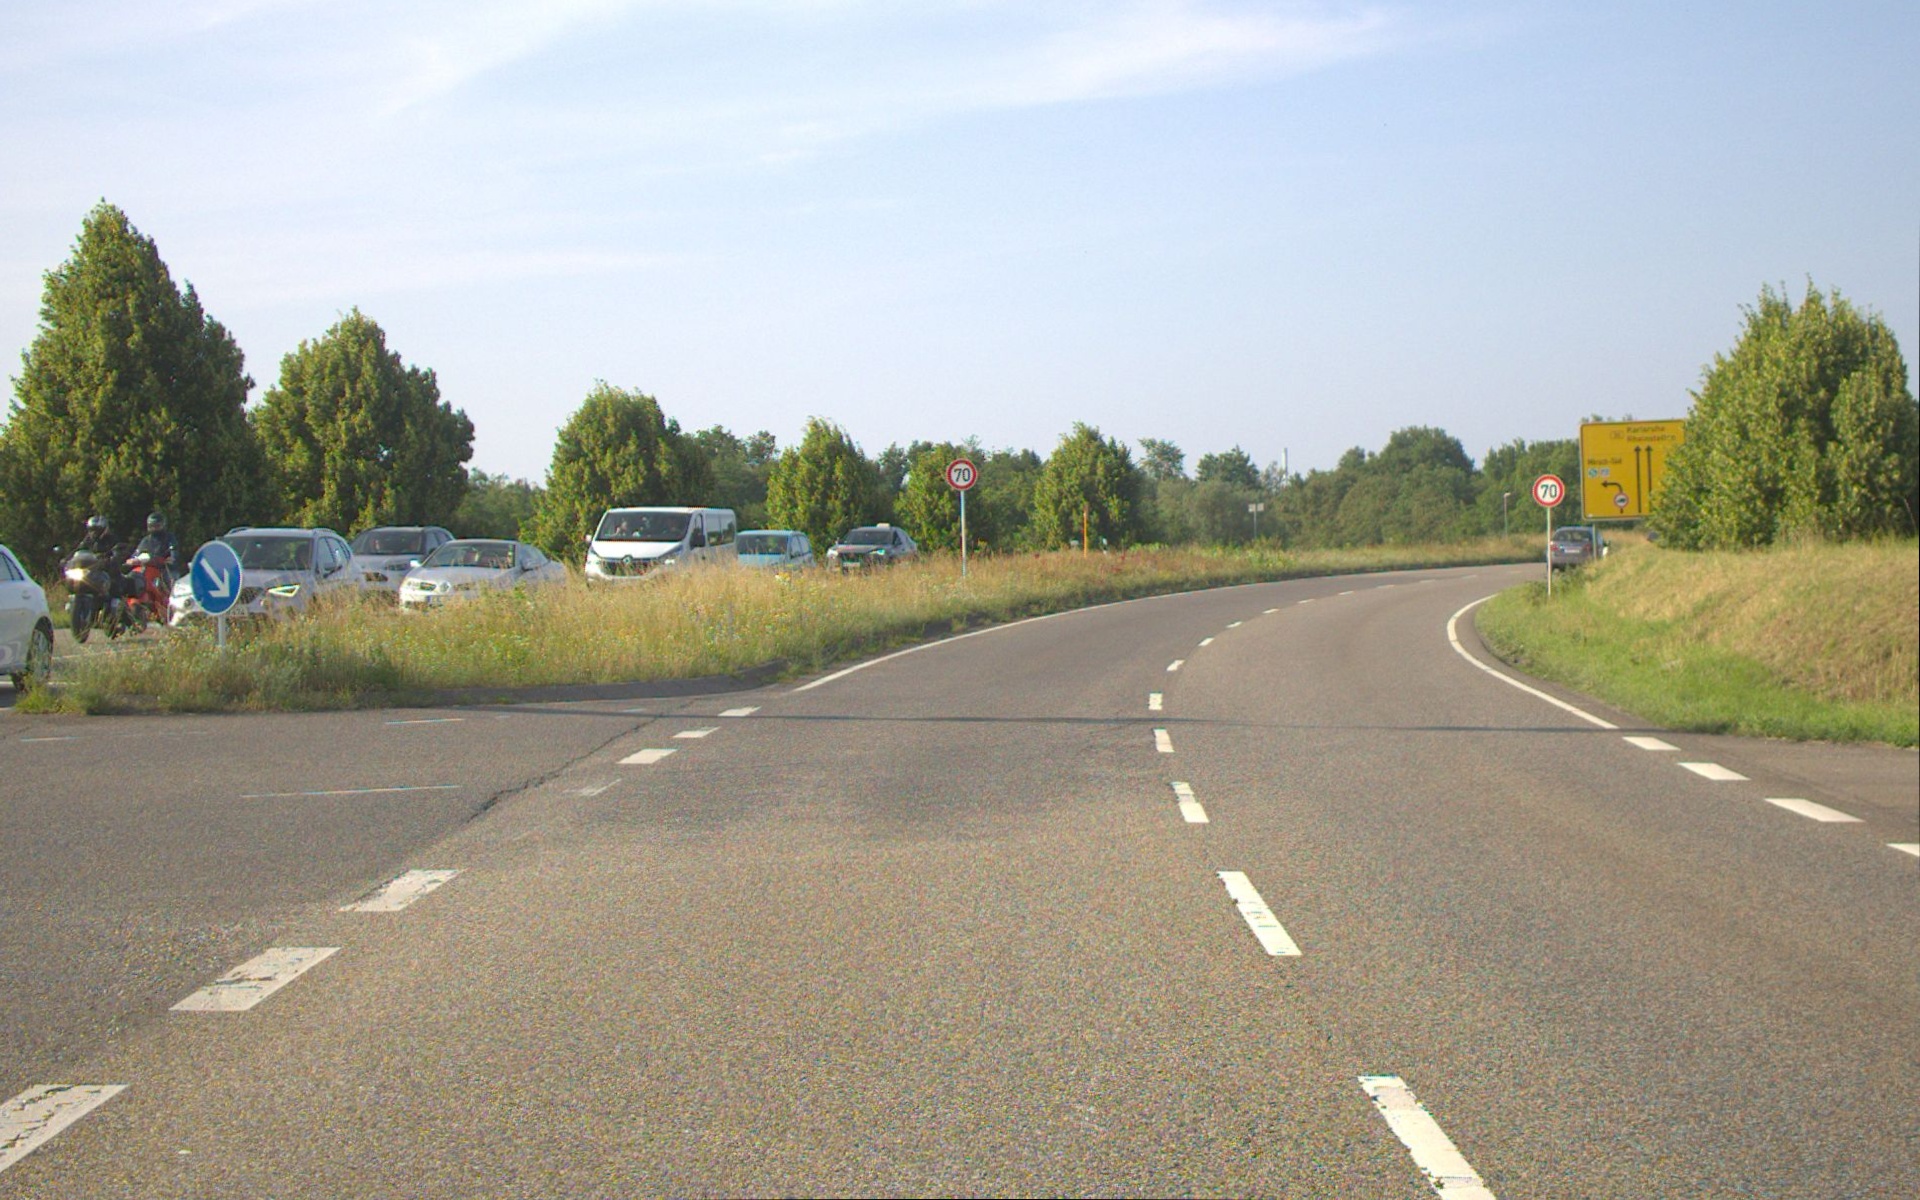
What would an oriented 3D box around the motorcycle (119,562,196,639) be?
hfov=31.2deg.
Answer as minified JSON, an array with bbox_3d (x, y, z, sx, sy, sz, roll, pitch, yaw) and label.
[{"bbox_3d":[-11.793,-0.001,50.543,0.873,1.093,1.299,-1,1,-2],"label":"motorcycle"}]

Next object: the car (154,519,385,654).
[{"bbox_3d":[-8.473,-0.194,42.504,1.786,1.563,4.051,-1,1,4],"label":"car"}]

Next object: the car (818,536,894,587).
[{"bbox_3d":[-2.924,-1.093,97.053,1.406,1.397,3.420,0,1,11],"label":"car"}]

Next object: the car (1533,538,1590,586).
[{"bbox_3d":[20.760,-1.301,118.799,1.785,1.600,4.194,0,0,8],"label":"car"}]

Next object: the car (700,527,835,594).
[{"bbox_3d":[-4.053,-0.855,73.111,1.787,1.381,4.049,0,1,13],"label":"car"}]

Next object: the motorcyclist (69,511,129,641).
[{"bbox_3d":[-11.593,-0.328,46.310,0.662,1.741,0.605,-1,1,-3],"label":"motorcyclist"}]

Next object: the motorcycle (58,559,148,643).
[{"bbox_3d":[-11.530,0.003,46.292,0.873,1.093,1.469,-1,1,-2],"label":"motorcycle"}]

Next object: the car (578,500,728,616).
[{"bbox_3d":[-5.701,-0.800,64.339,1.926,2.071,4.242,-1,1,7],"label":"car"}]

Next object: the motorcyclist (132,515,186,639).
[{"bbox_3d":[-11.817,-0.336,50.715,0.662,1.810,0.605,-1,1,-3],"label":"motorcyclist"}]

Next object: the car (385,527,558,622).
[{"bbox_3d":[-7.379,-0.406,52.283,1.786,1.381,4.051,-1,1,4],"label":"car"}]

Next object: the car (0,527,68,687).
[{"bbox_3d":[-9.476,0.079,30.423,1.786,1.428,4.308,-1,1,4],"label":"car"}]
